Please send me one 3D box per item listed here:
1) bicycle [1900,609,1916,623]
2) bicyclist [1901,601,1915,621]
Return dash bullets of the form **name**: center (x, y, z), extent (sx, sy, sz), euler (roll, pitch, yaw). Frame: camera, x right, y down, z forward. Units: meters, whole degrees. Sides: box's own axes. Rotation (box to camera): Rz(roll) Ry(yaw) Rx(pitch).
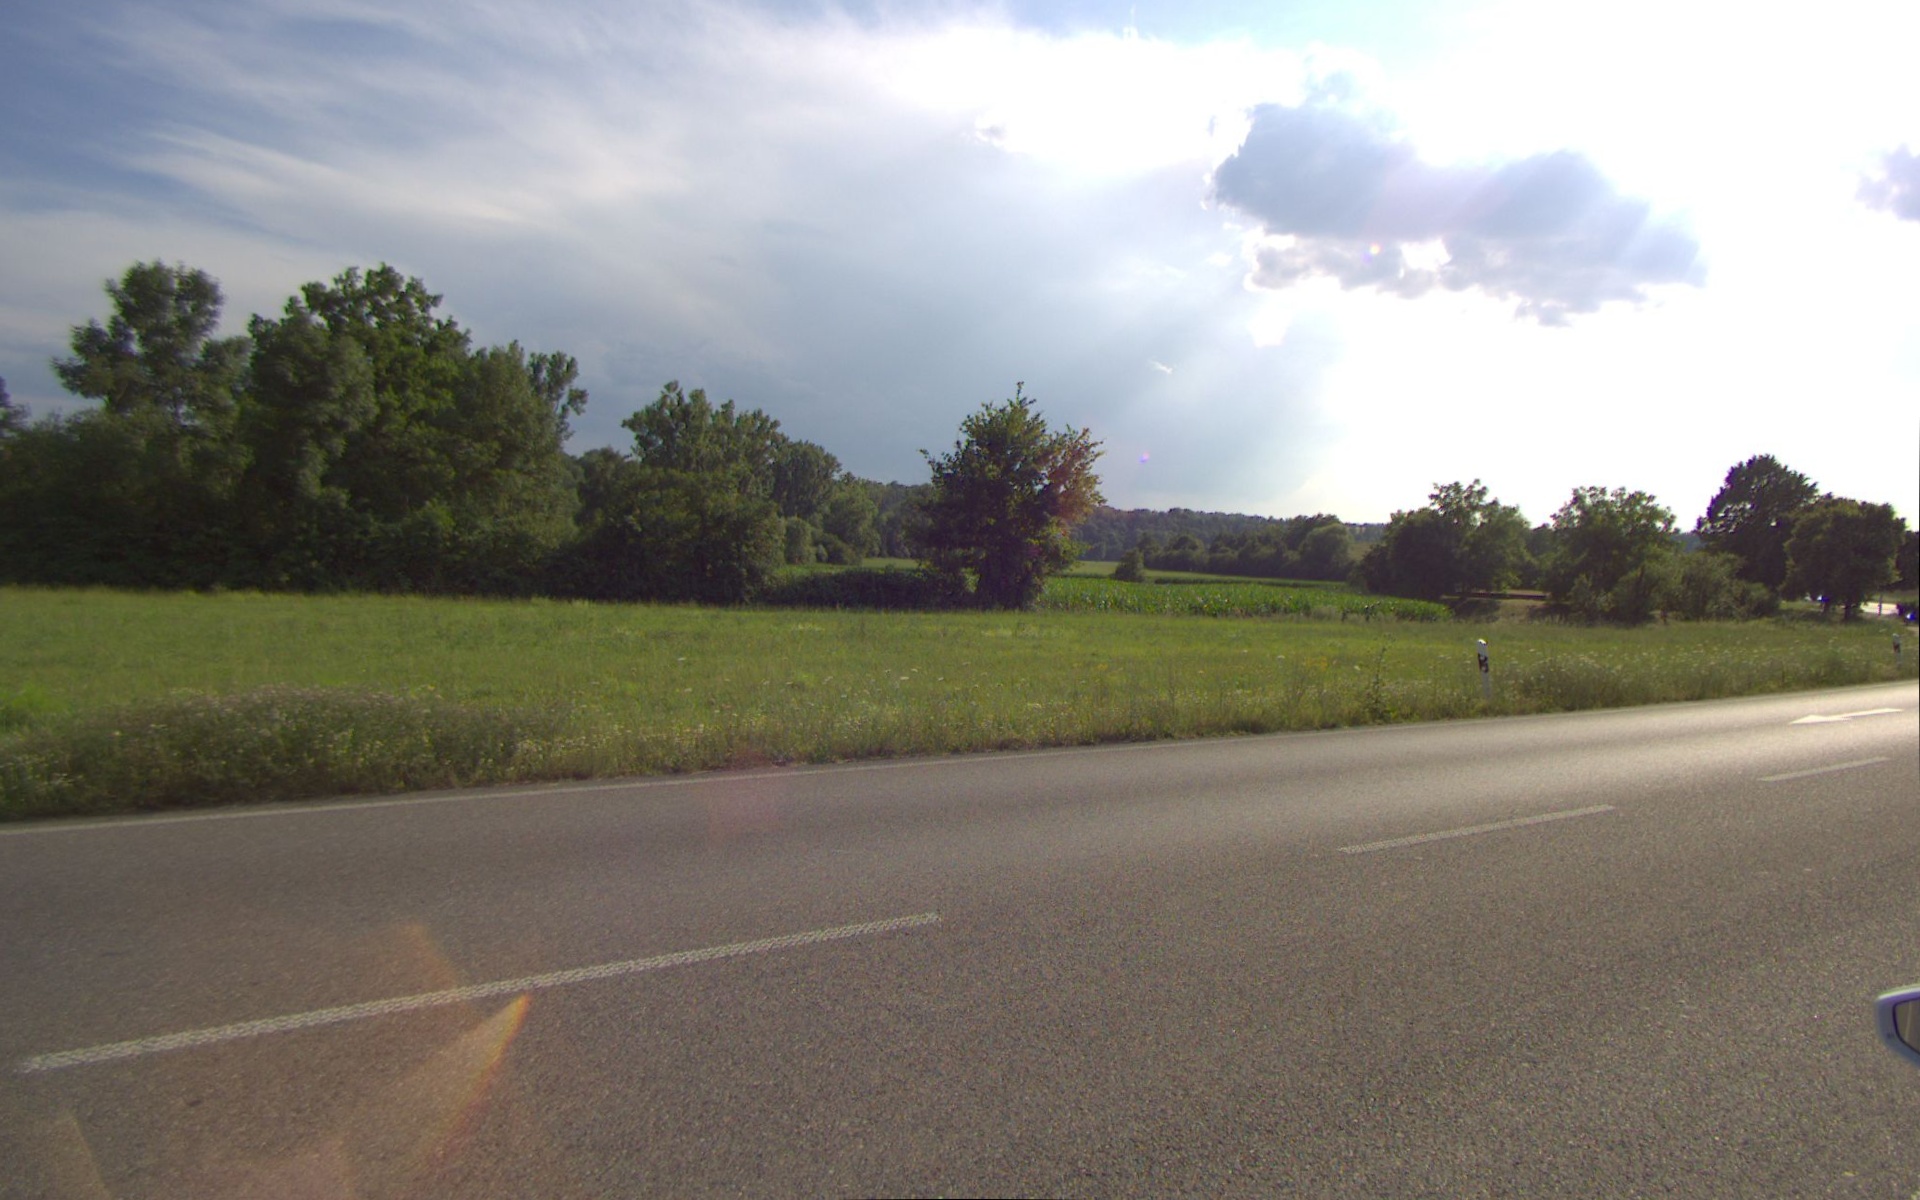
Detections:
- **bicycle**: center (72.728, 1.234, 77.053), extent (1.656, 1.089, 0.630), euler (1, 2, -39)
- **bicyclist**: center (72.656, 0.844, 76.963), extent (0.685, 1.439, 0.630), euler (1, 2, -38)
